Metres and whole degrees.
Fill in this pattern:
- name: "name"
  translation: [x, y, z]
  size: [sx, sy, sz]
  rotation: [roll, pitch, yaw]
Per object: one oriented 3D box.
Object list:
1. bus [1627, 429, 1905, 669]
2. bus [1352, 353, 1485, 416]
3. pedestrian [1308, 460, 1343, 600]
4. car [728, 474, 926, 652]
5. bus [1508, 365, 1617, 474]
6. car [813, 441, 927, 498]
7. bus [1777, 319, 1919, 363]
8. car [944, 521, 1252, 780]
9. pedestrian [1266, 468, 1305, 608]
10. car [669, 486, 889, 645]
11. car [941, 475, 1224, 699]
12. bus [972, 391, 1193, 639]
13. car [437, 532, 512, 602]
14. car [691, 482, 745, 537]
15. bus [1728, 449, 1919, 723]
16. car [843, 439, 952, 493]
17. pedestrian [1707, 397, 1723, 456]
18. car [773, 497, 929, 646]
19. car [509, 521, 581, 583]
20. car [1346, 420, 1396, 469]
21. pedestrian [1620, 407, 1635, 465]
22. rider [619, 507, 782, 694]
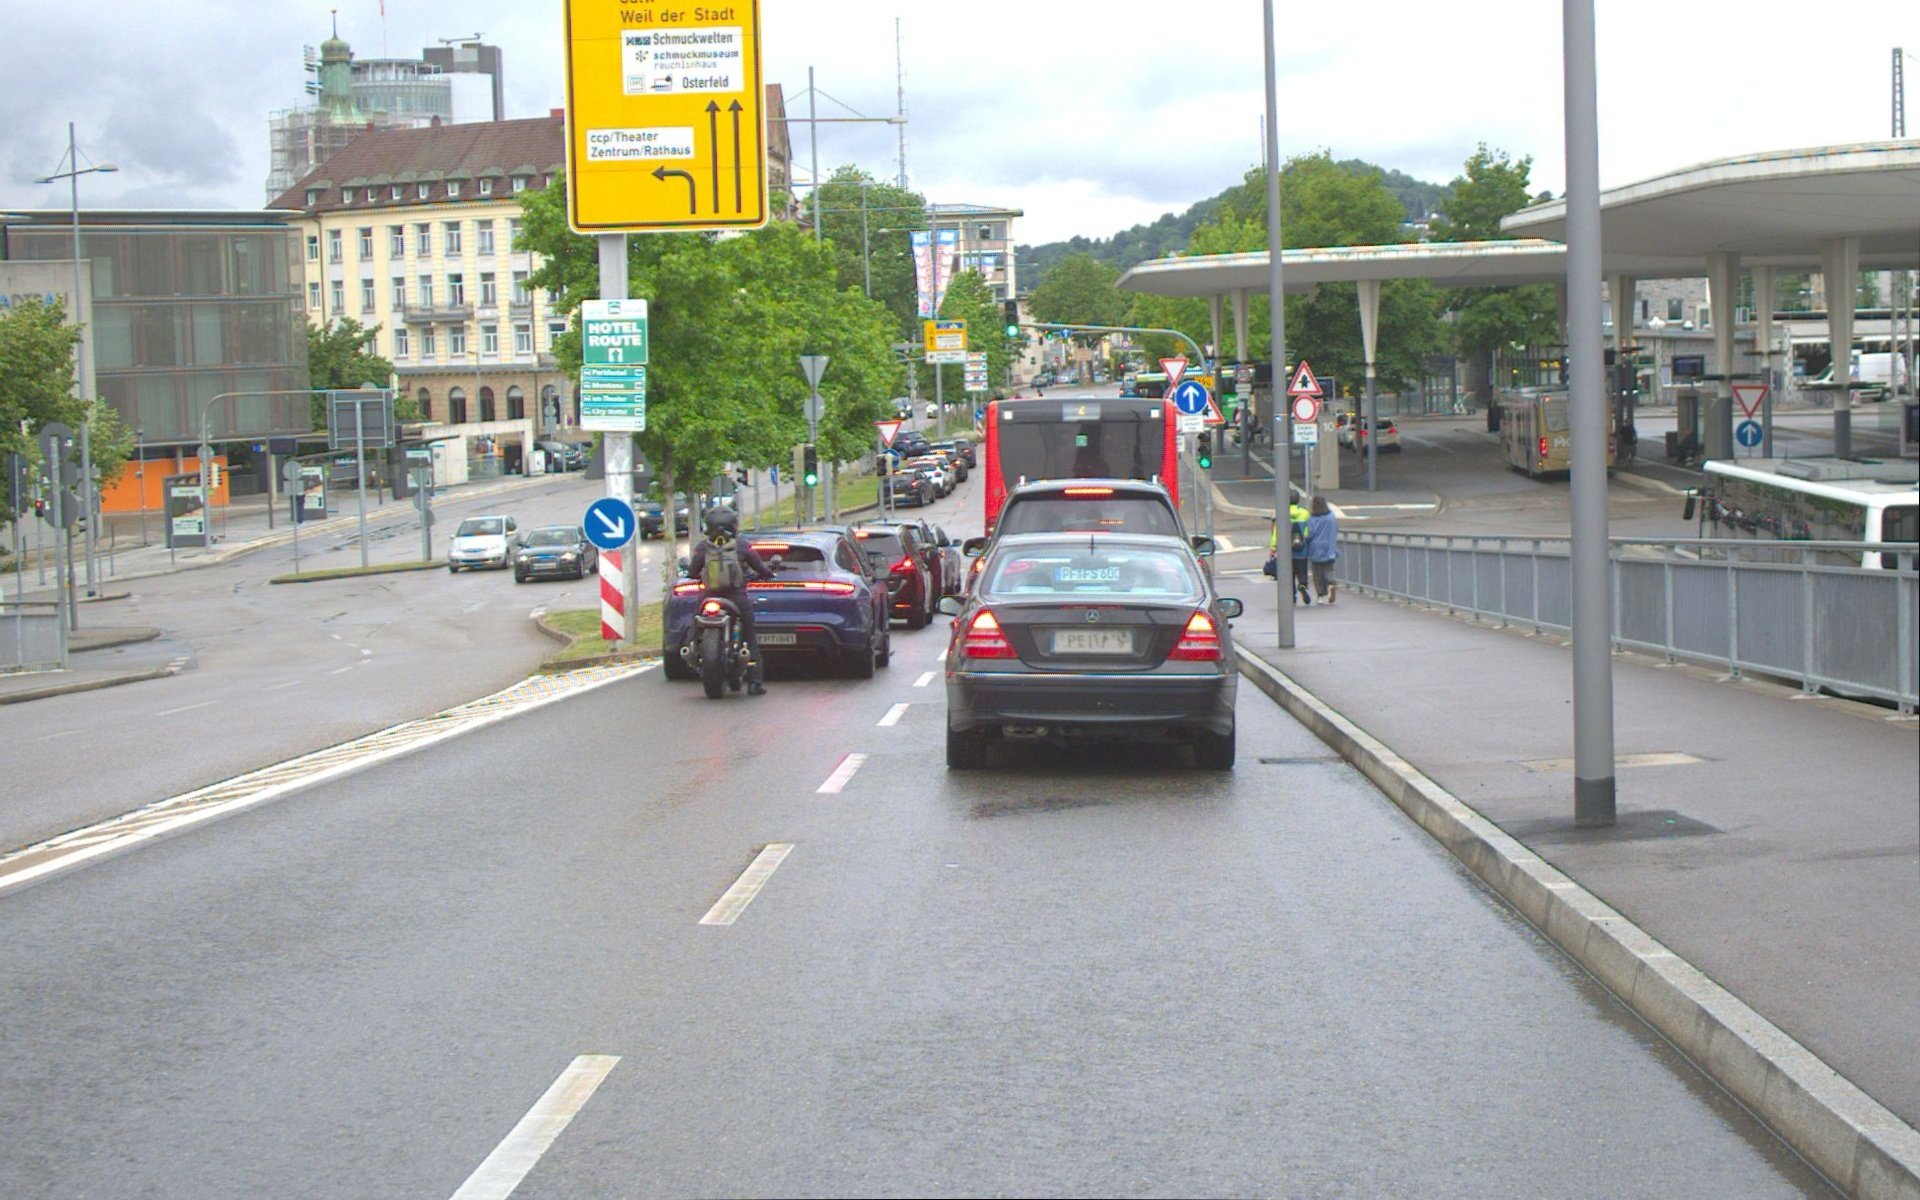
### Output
- name: "bus"
  translation: [12.895, -0.941, 55.557]
  size: [2.646, 3.224, 7.074]
  rotation: [-2, 5, -1]
- name: "bus"
  translation: [26.680, -12.566, 200.319]
  size: [7.197, 3.384, 3.082]
  rotation: [-2, 3, -1]
- name: "pedestrian"
  translation: [5.281, -1.010, 49.663]
  size: [0.424, 2.007, 0.483]
  rotation: [-2, 0, 4]
- name: "car"
  translation: [-1.515, -0.490, 40.644]
  size: [1.994, 1.999, 4.000]
  rotation: [0, 2, 3]
- name: "bus"
  translation: [21.280, -6.309, 121.881]
  size: [3.179, 3.588, 10.508]
  rotation: [-1, 2, 7]
- name: "car"
  translation: [-3.378, -4.909, 129.516]
  size: [3.988, 2.006, 2.000]
  rotation: [-2, 2, 7]
- name: "bus"
  translation: [47.805, -13.471, 178.578]
  size: [10.168, 2.006, 2.170]
  rotation: [-2, 2, 0]
- name: "car"
  translation: [0.823, 0.237, 20.964]
  size: [1.706, 1.414, 3.726]
  rotation: [0, 2, 2]
- name: "pedestrian"
  translation: [4.707, -0.891, 49.777]
  size: [0.490, 2.007, 0.469]
  rotation: [-2, 0, 4]
- name: "car"
  translation: [-1.681, -0.382, 33.174]
  size: [1.760, 1.431, 4.000]
  rotation: [0, 2, 2]
- name: "car"
  translation: [1.068, -0.170, 27.851]
  size: [1.827, 1.681, 3.999]
  rotation: [0, 2, 9]
- name: "bus"
  translation: [1.729, -1.245, 49.272]
  size: [2.827, 3.178, 10.309]
  rotation: [0, 2, 2]
- name: "car"
  translation: [-14.670, -1.022, 104.121]
  size: [1.993, 2.006, 4.001]
  rotation: [-2, 1, -5]
- name: "car"
  translation: [-9.404, -3.500, 133.529]
  size: [1.993, 2.007, 4.203]
  rotation: [-2, 1, -5]
- name: "bus"
  translation: [13.075, -0.313, 48.469]
  size: [2.646, 3.225, 7.074]
  rotation: [1, 5, -1]
- name: "car"
  translation: [-2.447, -5.294, 135.533]
  size: [3.988, 2.006, 2.000]
  rotation: [-2, 2, 7]
- name: "pedestrian"
  translation: [26.018, -5.987, 118.457]
  size: [0.424, 2.007, 0.483]
  rotation: [-2, 0, 4]
- name: "car"
  translation: [-1.497, -0.451, 48.755]
  size: [1.993, 1.999, 4.000]
  rotation: [0, 2, 1]
- name: "car"
  translation: [-11.557, -1.358, 96.019]
  size: [1.832, 1.521, 4.596]
  rotation: [-2, 3, -5]
- name: "car"
  translation: [17.669, -6.685, 147.695]
  size: [1.994, 2.006, 3.999]
  rotation: [-1, 2, 8]
- name: "pedestrian"
  translation: [23.303, -5.723, 120.057]
  size: [0.424, 2.006, 0.483]
  rotation: [-2, 2, 4]
- name: "rider"
  translation: [-2.120, -0.025, 28.408]
  size: [0.881, 1.467, 2.195]
  rotation: [1, 2, 8]
